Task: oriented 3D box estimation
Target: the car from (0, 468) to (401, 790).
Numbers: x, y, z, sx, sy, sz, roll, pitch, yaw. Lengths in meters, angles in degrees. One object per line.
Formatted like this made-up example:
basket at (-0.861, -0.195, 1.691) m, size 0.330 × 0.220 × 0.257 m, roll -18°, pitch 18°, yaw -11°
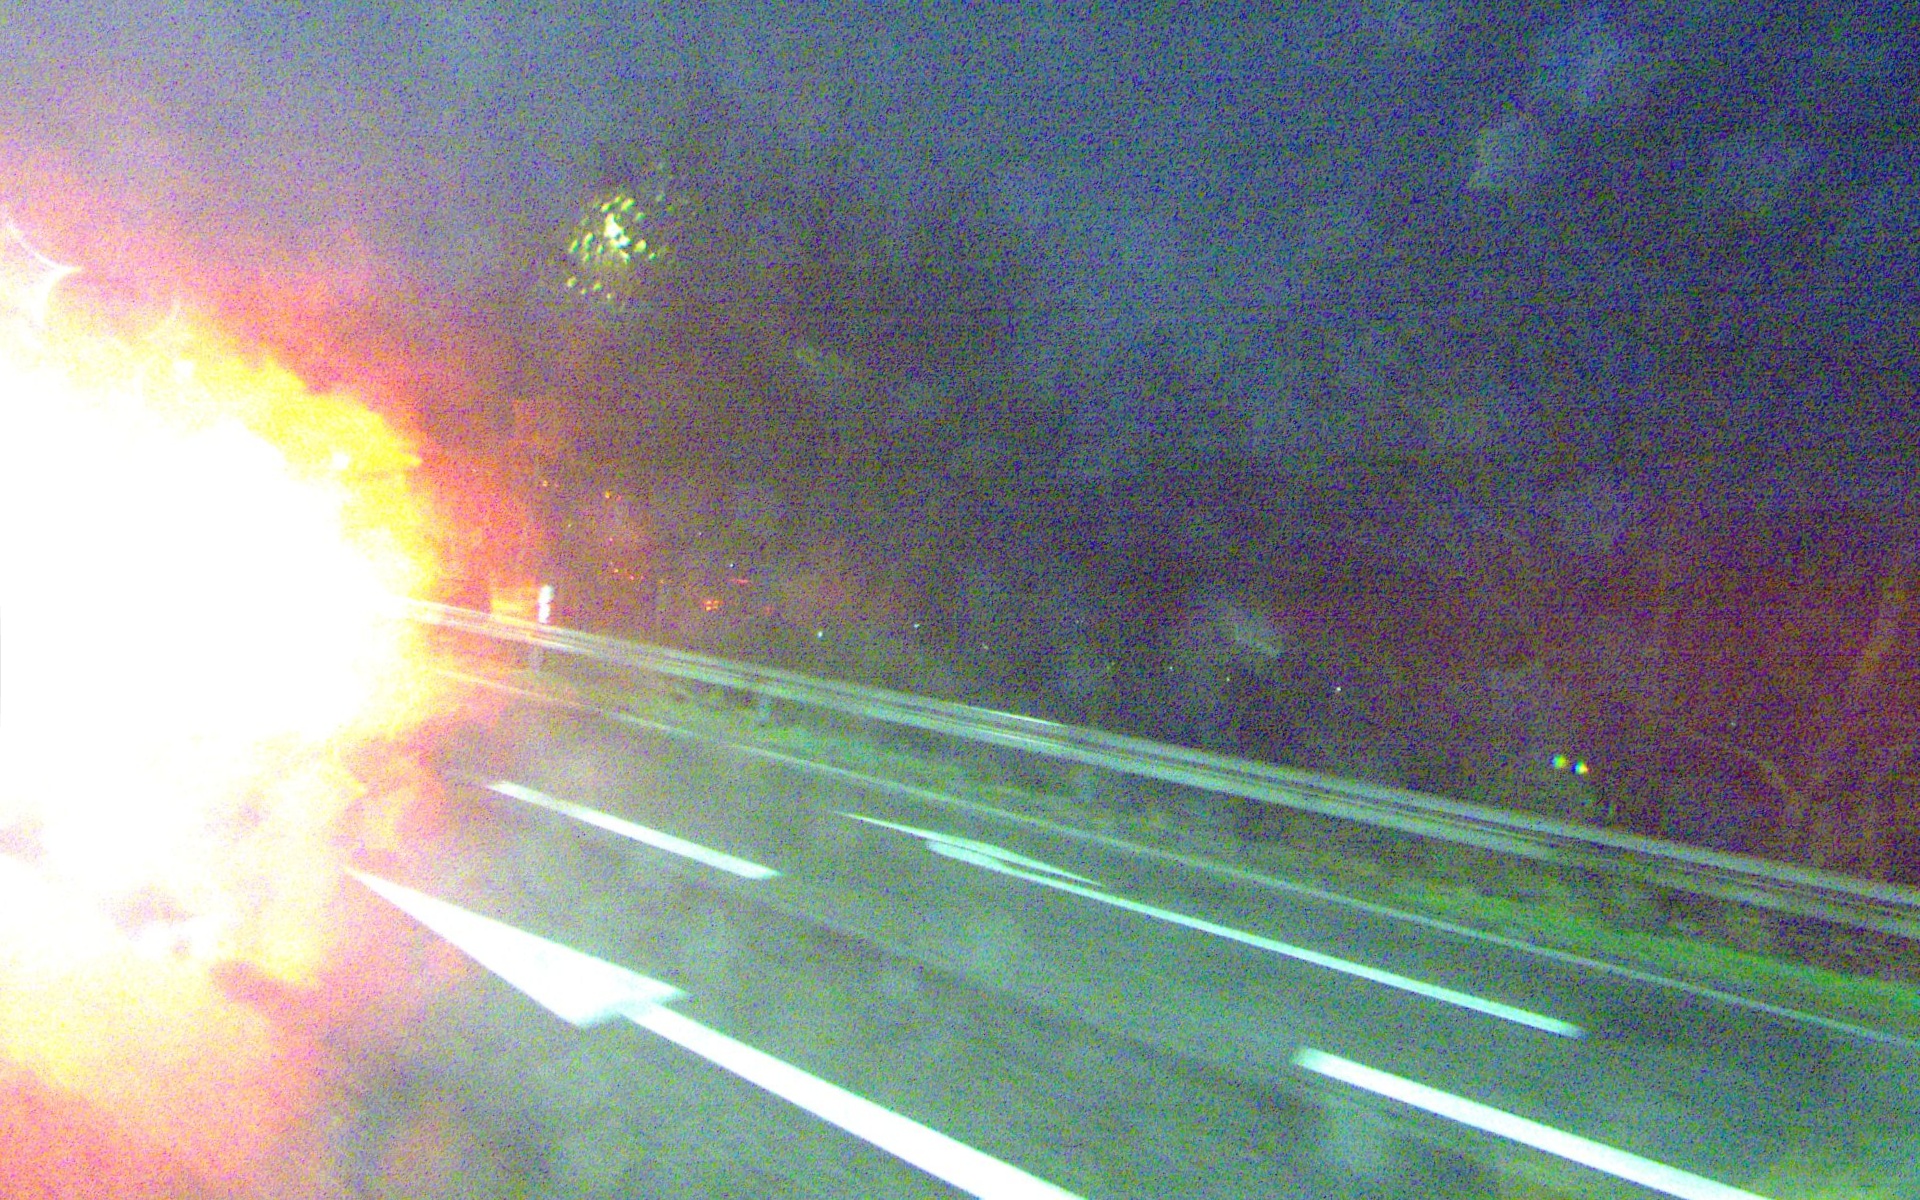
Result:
car at (-5.750, 0.065, 6.682) m, size 3.712 × 1.582 × 1.744 m, roll 7°, pitch -2°, yaw 30°
